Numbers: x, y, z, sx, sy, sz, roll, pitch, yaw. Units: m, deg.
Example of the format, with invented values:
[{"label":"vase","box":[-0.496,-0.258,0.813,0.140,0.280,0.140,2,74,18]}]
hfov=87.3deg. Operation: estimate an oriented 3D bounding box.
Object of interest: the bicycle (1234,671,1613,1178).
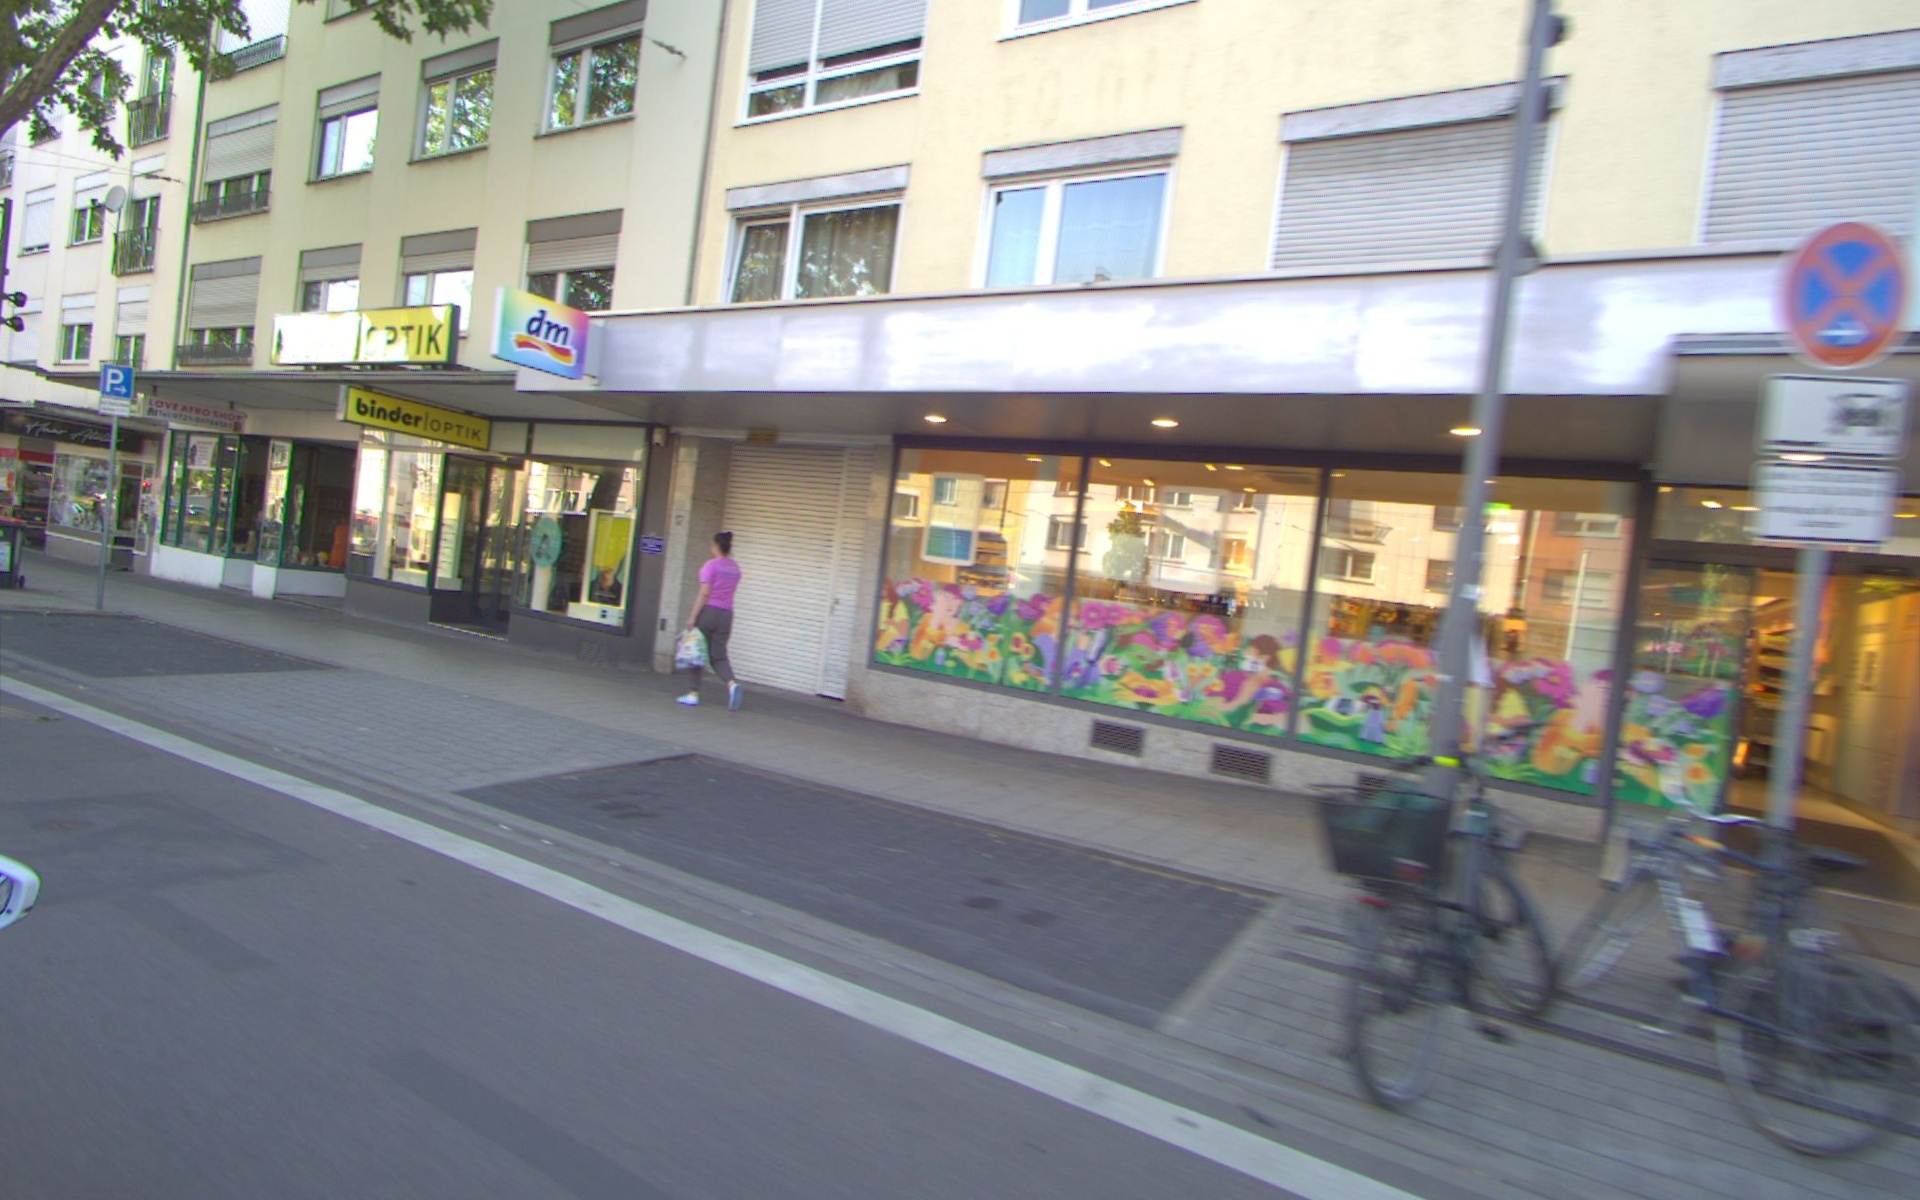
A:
[{"label":"bicycle","box":[1.839,1.034,3.845,0.684,1.331,1.780,8,7,42]}]

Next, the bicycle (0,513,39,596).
[{"label":"bicycle","box":[-13.975,-0.703,13.844,0.733,1.130,1.720,3,-2,31]}]

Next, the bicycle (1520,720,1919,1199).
[{"label":"bicycle","box":[2.968,1.208,3.841,0.651,1.141,1.790,5,4,4]}]

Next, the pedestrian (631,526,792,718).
[{"label":"pedestrian","box":[-2.529,0.213,10.277,1.115,1.786,0.968,6,2,32]}]

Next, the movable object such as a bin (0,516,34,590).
[{"label":"movable object such as a bin","box":[-14.812,-0.741,15.502,0.719,1.086,0.637,4,2,-41]}]
